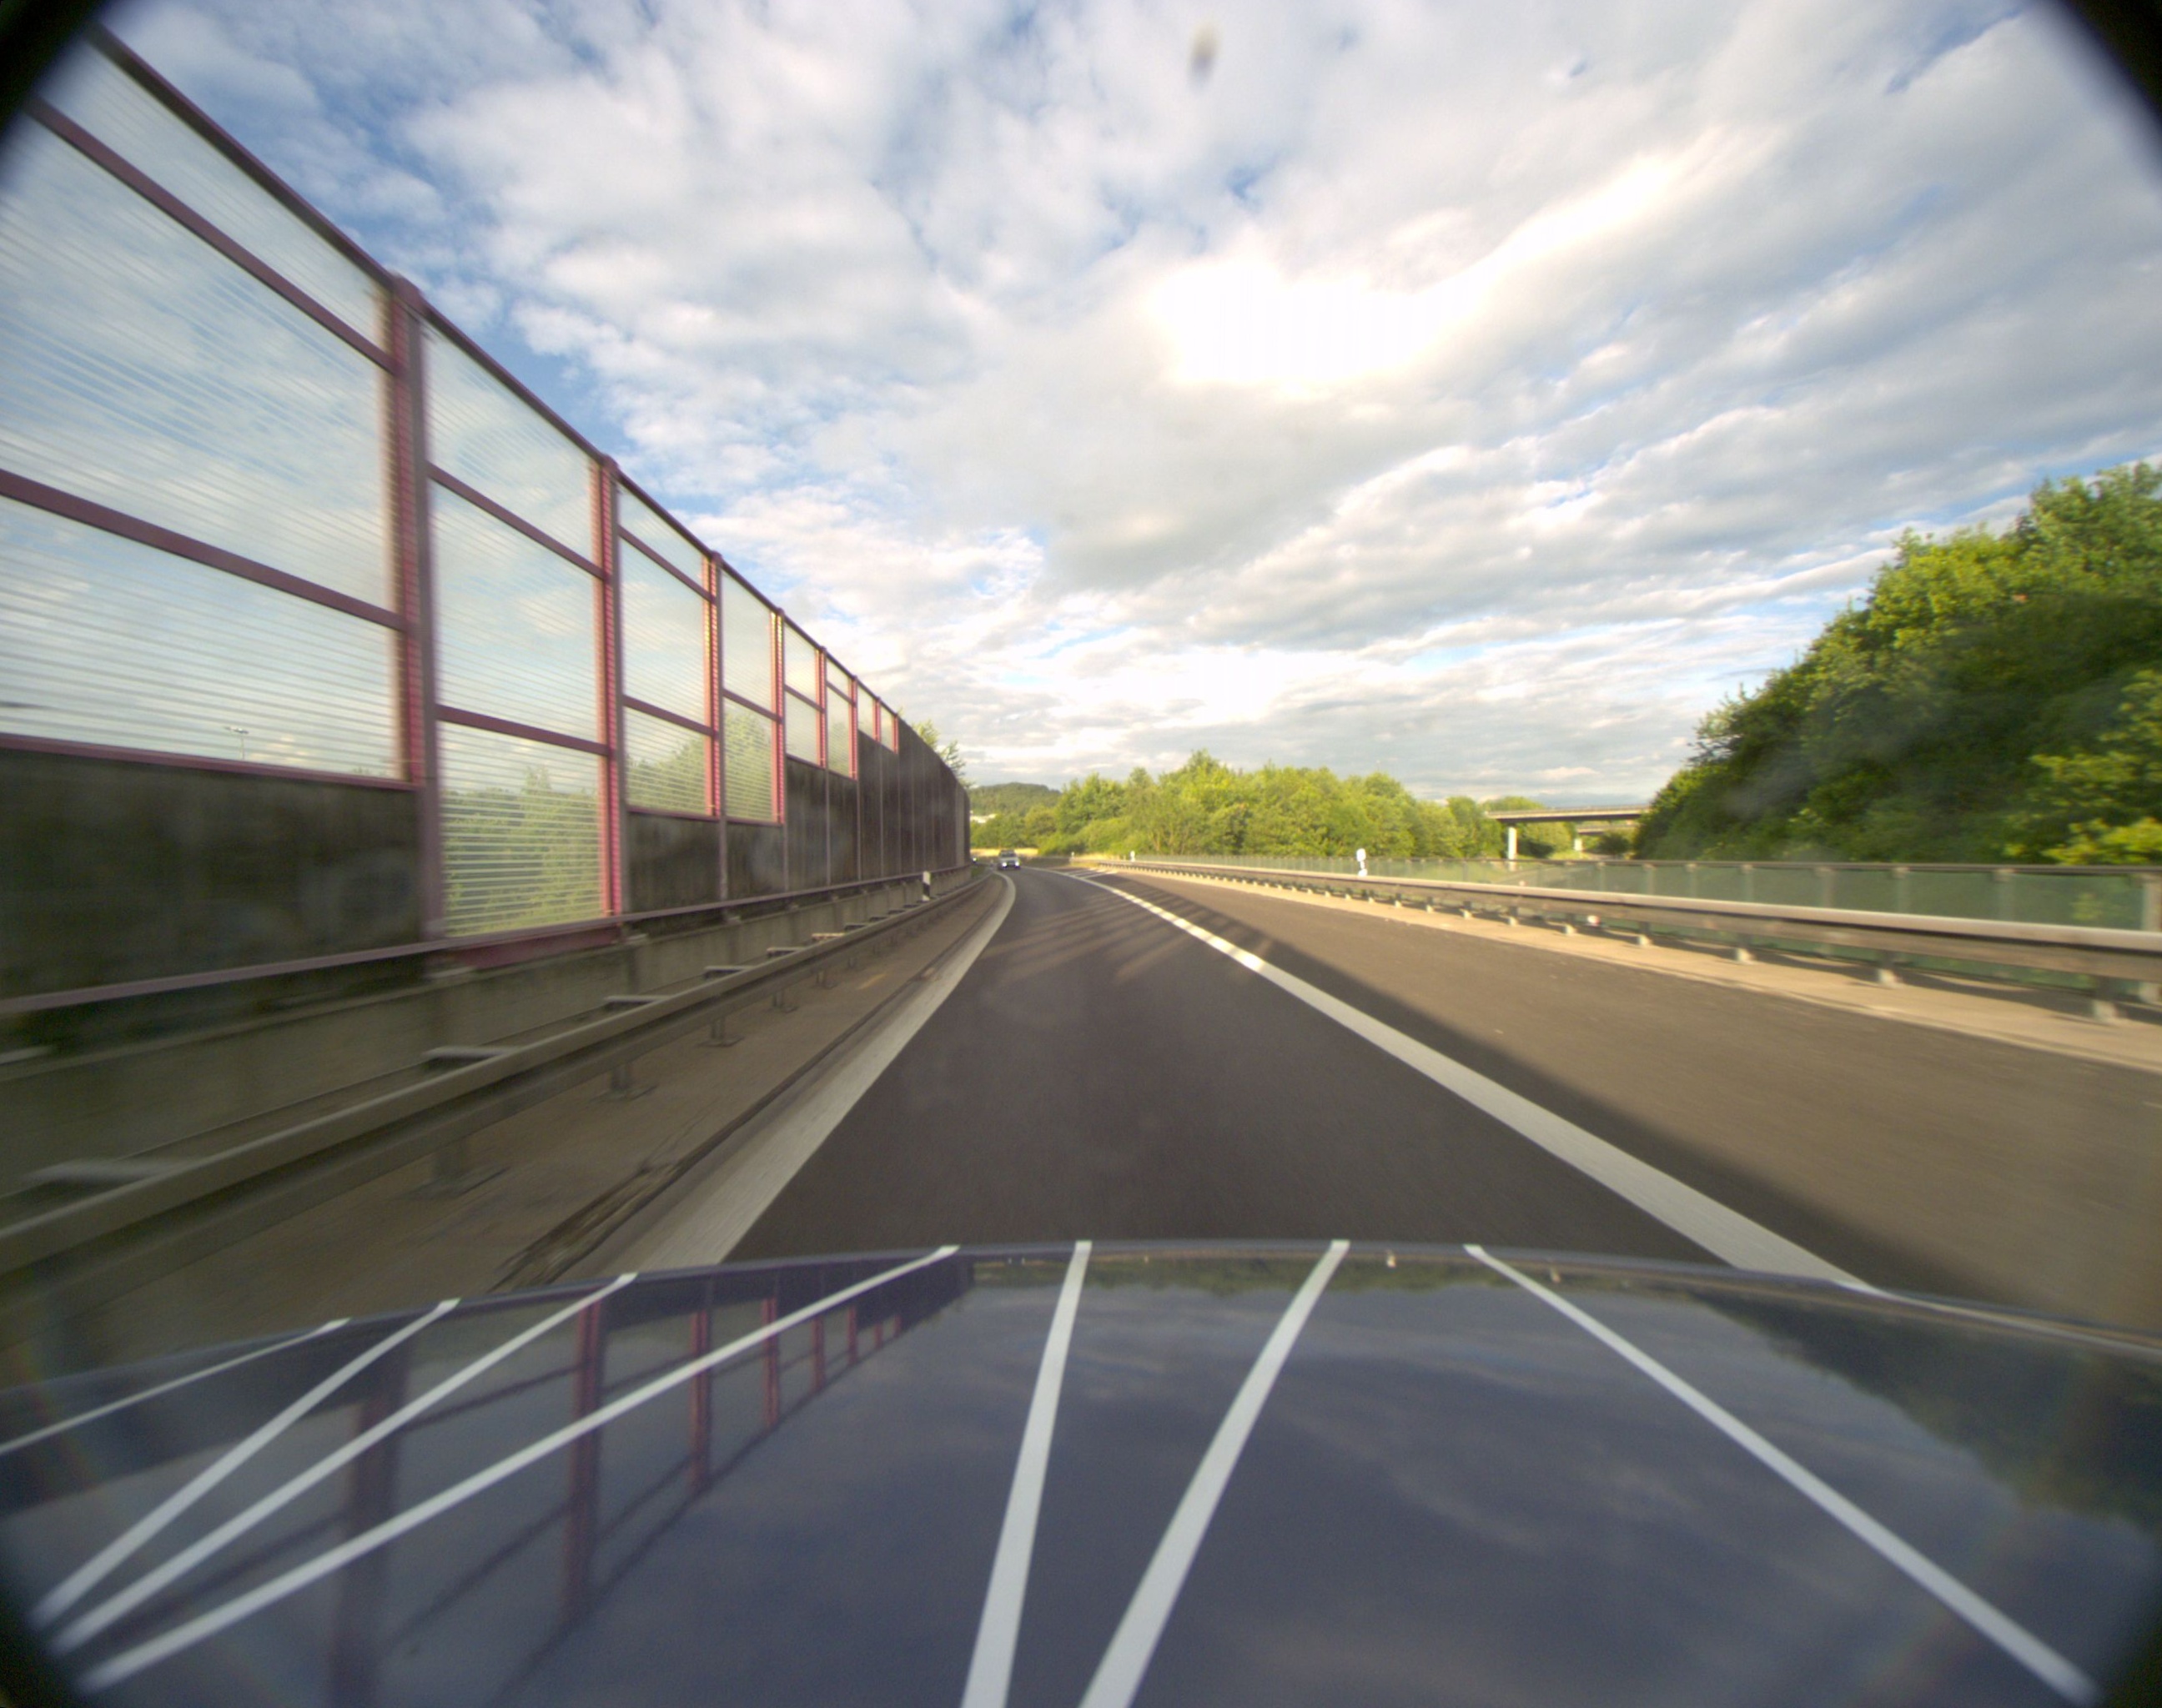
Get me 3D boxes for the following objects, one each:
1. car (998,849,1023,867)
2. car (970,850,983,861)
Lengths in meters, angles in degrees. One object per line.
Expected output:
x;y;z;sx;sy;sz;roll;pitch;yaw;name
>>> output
-6.787;0.385;73.064;1.907;1.655;3.995;-1;1;-13;car
-15.752;0.231;114.817;1.621;1.452;3.657;-2;2;-12;car
